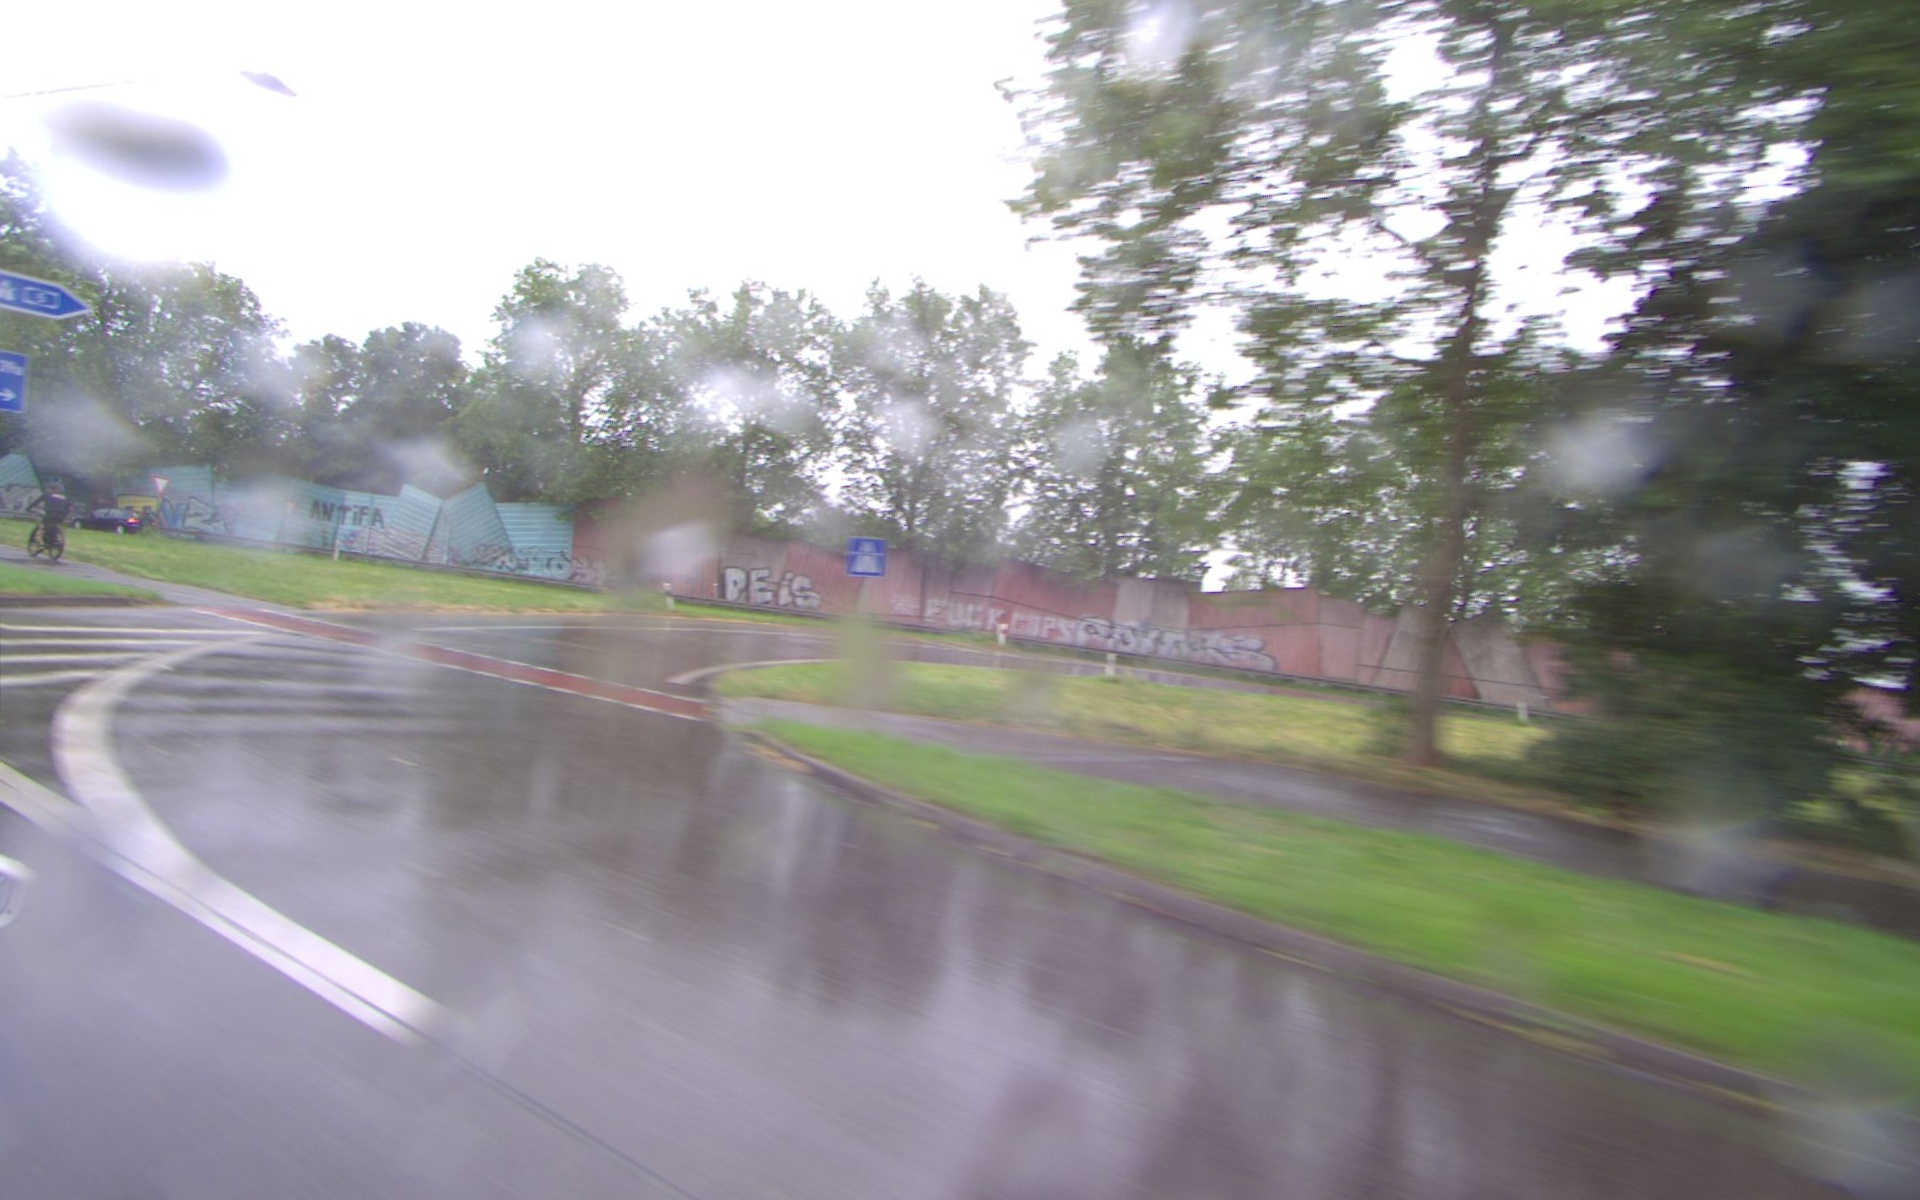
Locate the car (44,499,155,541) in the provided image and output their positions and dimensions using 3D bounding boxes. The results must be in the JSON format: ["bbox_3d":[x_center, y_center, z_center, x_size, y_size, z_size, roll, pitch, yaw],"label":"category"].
[{"bbox_3d":[-46.042,-4.260,53.888,4.431,1.555,1.870,7,0,6],"label":"car"}]
